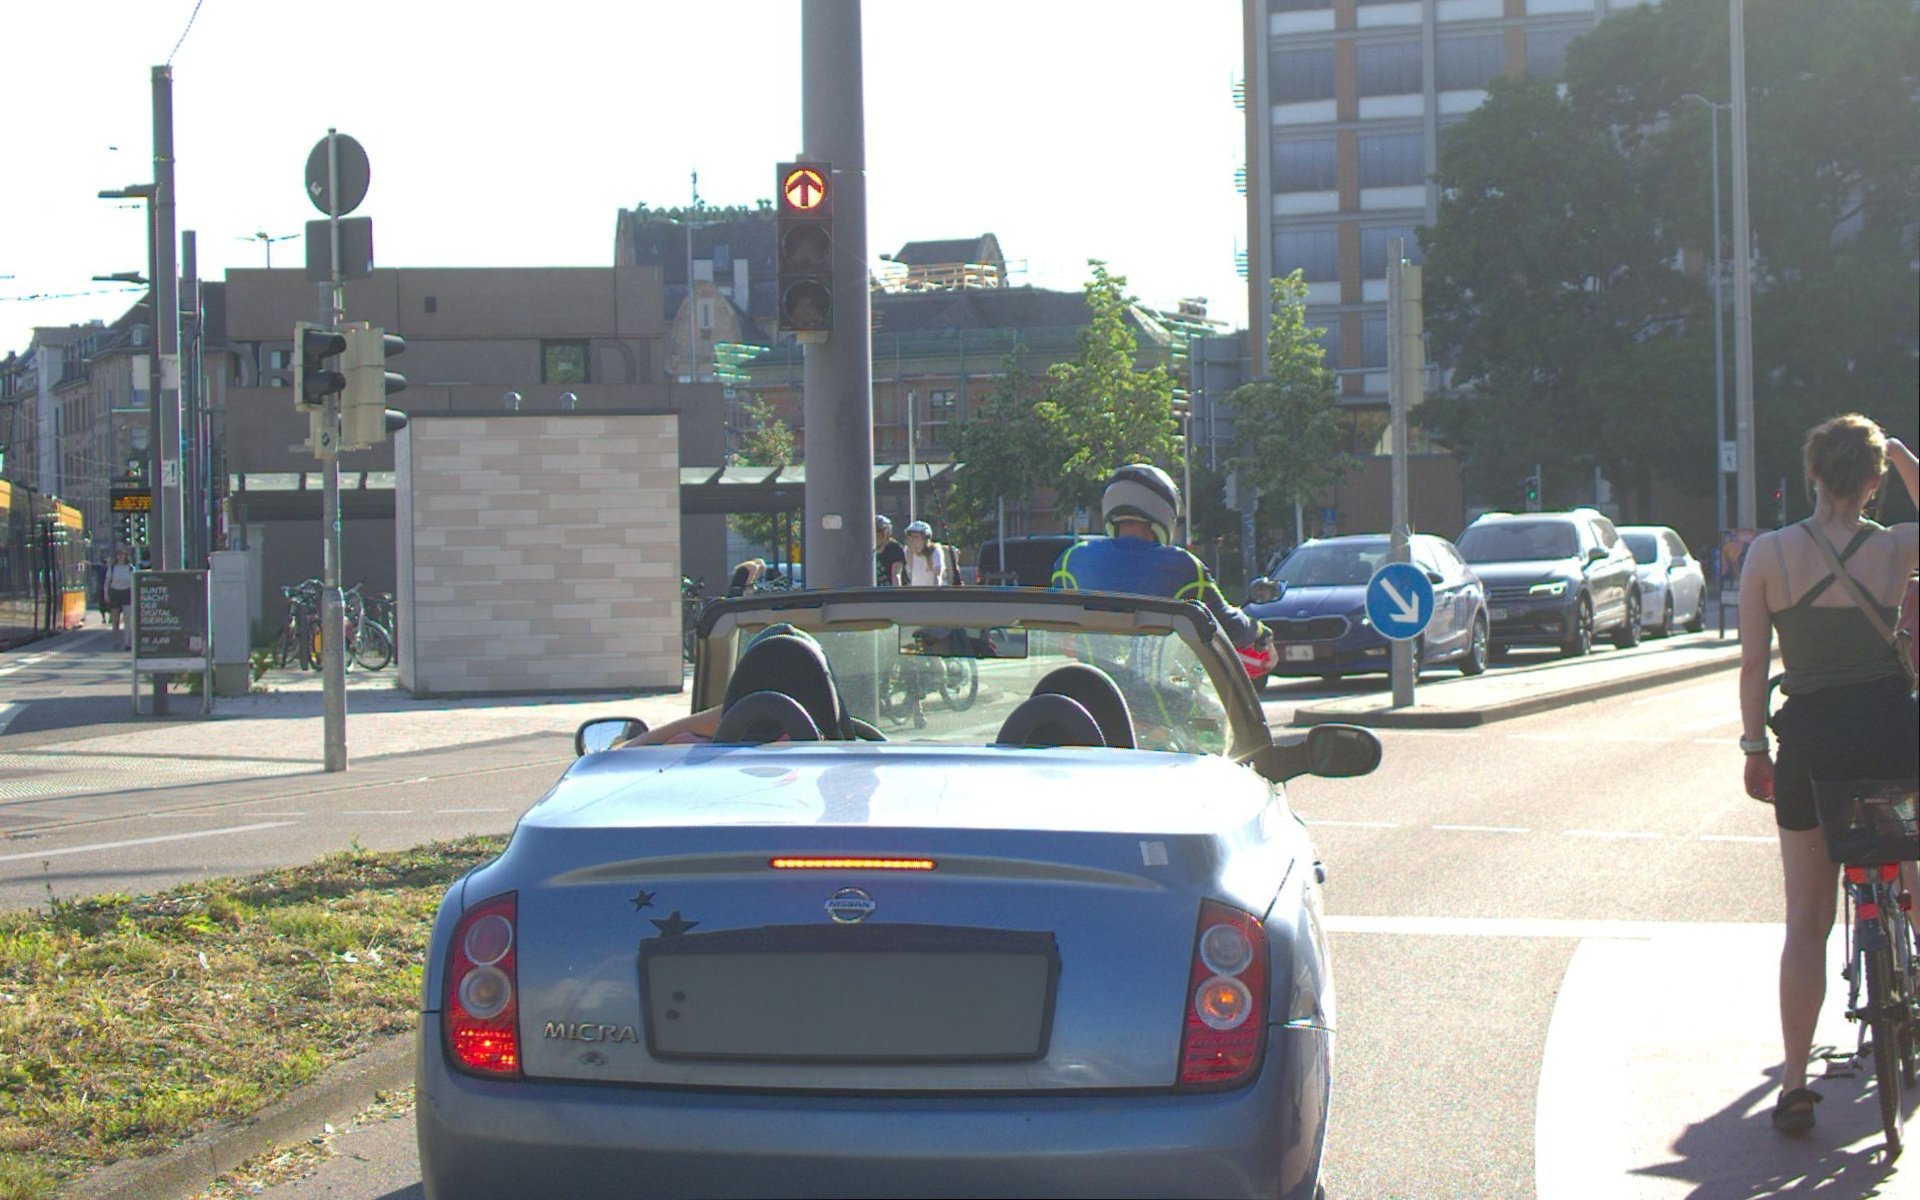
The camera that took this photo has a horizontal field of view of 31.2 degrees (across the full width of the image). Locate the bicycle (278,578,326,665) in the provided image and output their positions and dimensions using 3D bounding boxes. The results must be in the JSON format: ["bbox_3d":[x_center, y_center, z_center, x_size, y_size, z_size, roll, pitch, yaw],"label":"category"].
[{"bbox_3d":[-8.798,0.276,45.995,0.606,1.111,1.897,1,1,-11],"label":"bicycle"}]

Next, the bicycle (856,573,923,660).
[{"bbox_3d":[-0.946,0.208,45.566,0.606,1.111,1.897,1,1,-10],"label":"bicycle"}]

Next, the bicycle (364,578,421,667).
[{"bbox_3d":[-7.339,0.278,44.400,0.606,1.111,1.897,1,1,-12],"label":"bicycle"}]

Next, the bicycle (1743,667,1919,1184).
[{"bbox_3d":[2.369,0.779,8.977,0.564,1.147,1.948,1,1,14],"label":"bicycle"}]

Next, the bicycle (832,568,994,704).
[{"bbox_3d":[-0.407,0.310,31.465,0.675,1.176,2.181,-1,1,22],"label":"bicycle"}]

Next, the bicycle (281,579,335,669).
[{"bbox_3d":[-8.364,0.301,44.070,0.606,1.111,1.897,1,1,-12],"label":"bicycle"}]

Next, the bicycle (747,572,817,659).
[{"bbox_3d":[-2.356,0.192,45.264,0.606,1.111,1.897,1,1,-12],"label":"bicycle"}]

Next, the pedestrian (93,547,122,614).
[{"bbox_3d":[-22.294,-0.513,89.926,0.604,1.743,0.832,-1,1,-8],"label":"pedestrian"}]

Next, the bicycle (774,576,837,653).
[{"bbox_3d":[-2.312,0.208,51.271,0.606,1.111,1.897,1,1,-12],"label":"bicycle"}]

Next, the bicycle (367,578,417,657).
[{"bbox_3d":[-8.329,0.245,50.339,0.606,1.111,1.897,1,1,-12],"label":"bicycle"}]

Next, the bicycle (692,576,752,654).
[{"bbox_3d":[-3.543,0.211,51.068,0.606,1.111,1.897,1,1,-12],"label":"bicycle"}]

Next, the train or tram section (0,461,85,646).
[{"bbox_3d":[-20.508,-0.991,72.670,3.011,3.584,12.203,1,1,-10],"label":"train or tram section"}]

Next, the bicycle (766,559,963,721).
[{"bbox_3d":[-0.772,0.313,28.852,0.675,1.246,2.454,-3,0,22],"label":"bicycle"}]

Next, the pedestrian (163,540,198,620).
[{"bbox_3d":[-17.194,-0.439,75.786,0.637,1.743,0.736,-1,1,-19],"label":"pedestrian"}]

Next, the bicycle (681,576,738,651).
[{"bbox_3d":[-3.874,0.200,53.036,0.606,1.111,1.897,1,1,-12],"label":"bicycle"}]

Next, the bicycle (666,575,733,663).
[{"bbox_3d":[-3.429,0.237,45.123,0.606,1.111,1.897,1,1,-12],"label":"bicycle"}]

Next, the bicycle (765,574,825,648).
[{"bbox_3d":[-2.560,0.163,53.243,0.606,1.111,1.897,1,1,-12],"label":"bicycle"}]

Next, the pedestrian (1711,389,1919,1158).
[{"bbox_3d":[2.287,0.415,8.784,0.659,1.862,0.872,1,0,15],"label":"pedestrian"}]

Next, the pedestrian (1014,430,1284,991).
[{"bbox_3d":[0.674,0.361,11.964,0.833,1.862,0.920,1,0,8],"label":"pedestrian"}]

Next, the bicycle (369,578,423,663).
[{"bbox_3d":[-7.628,0.267,46.464,0.606,1.111,1.897,1,1,-12],"label":"bicycle"}]

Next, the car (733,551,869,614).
[{"bbox_3d":[-4.121,-0.455,88.688,1.640,1.555,3.599,-2,1,-39],"label":"car"}]

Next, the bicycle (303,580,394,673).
[{"bbox_3d":[-7.544,0.318,42.465,0.607,1.111,1.896,1,1,5],"label":"bicycle"}]

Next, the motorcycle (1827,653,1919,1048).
[{"bbox_3d":[3.174,0.746,11.079,0.614,1.094,2.358,1,1,17],"label":"motorcycle"}]

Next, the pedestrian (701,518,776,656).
[{"bbox_3d":[-3.016,-0.178,46.735,0.900,1.862,0.687,1,0,-12],"label":"pedestrian"}]

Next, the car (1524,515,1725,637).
[{"bbox_3d":[9.002,-0.346,46.329,1.697,1.555,3.974,-1,1,25],"label":"car"}]

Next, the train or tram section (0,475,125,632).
[{"bbox_3d":[-22.576,-1.139,84.596,3.039,3.584,12.055,1,1,-9],"label":"train or tram section"}]

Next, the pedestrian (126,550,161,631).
[{"bbox_3d":[-17.833,-0.208,75.096,0.637,1.743,0.736,-1,1,-19],"label":"pedestrian"}]

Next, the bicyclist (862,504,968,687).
[{"bbox_3d":[-0.408,-0.046,31.487,0.709,1.651,0.742,-1,1,22],"label":"bicyclist"}]

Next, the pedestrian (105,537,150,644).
[{"bbox_3d":[-13.665,-0.158,56.420,0.637,1.743,0.572,-1,1,-19],"label":"pedestrian"}]

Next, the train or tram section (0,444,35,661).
[{"bbox_3d":[-18.166,-0.851,60.679,2.880,3.584,12.203,1,1,-12],"label":"train or tram section"}]

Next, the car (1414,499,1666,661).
[{"bbox_3d":[6.757,-0.260,39.688,1.763,1.700,4.525,-2,0,24],"label":"car"}]

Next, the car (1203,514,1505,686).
[{"bbox_3d":[3.915,-0.012,33.633,1.739,1.568,3.919,1,1,25],"label":"car"}]

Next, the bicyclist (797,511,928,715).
[{"bbox_3d":[-0.812,0.099,28.781,0.709,1.651,0.900,-3,0,22],"label":"bicyclist"}]

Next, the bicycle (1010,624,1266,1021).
[{"bbox_3d":[0.658,0.699,11.901,0.608,1.187,2.414,1,1,9],"label":"bicycle"}]

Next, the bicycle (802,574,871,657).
[{"bbox_3d":[-1.720,0.204,47.583,0.606,1.111,1.897,1,1,-12],"label":"bicycle"}]

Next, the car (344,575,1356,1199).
[{"bbox_3d":[0.033,0.677,7.692,1.660,1.436,4.153,1,1,6],"label":"car"}]

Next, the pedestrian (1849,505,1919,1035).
[{"bbox_3d":[3.133,0.512,10.814,0.588,1.593,1.024,1,0,17],"label":"pedestrian"}]

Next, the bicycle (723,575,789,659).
[{"bbox_3d":[-2.807,0.225,47.196,0.606,1.111,1.897,1,1,-12],"label":"bicycle"}]

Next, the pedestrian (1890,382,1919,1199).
[{"bbox_3d":[2.490,0.456,7.397,0.806,1.862,0.956,1,0,8],"label":"pedestrian"}]
